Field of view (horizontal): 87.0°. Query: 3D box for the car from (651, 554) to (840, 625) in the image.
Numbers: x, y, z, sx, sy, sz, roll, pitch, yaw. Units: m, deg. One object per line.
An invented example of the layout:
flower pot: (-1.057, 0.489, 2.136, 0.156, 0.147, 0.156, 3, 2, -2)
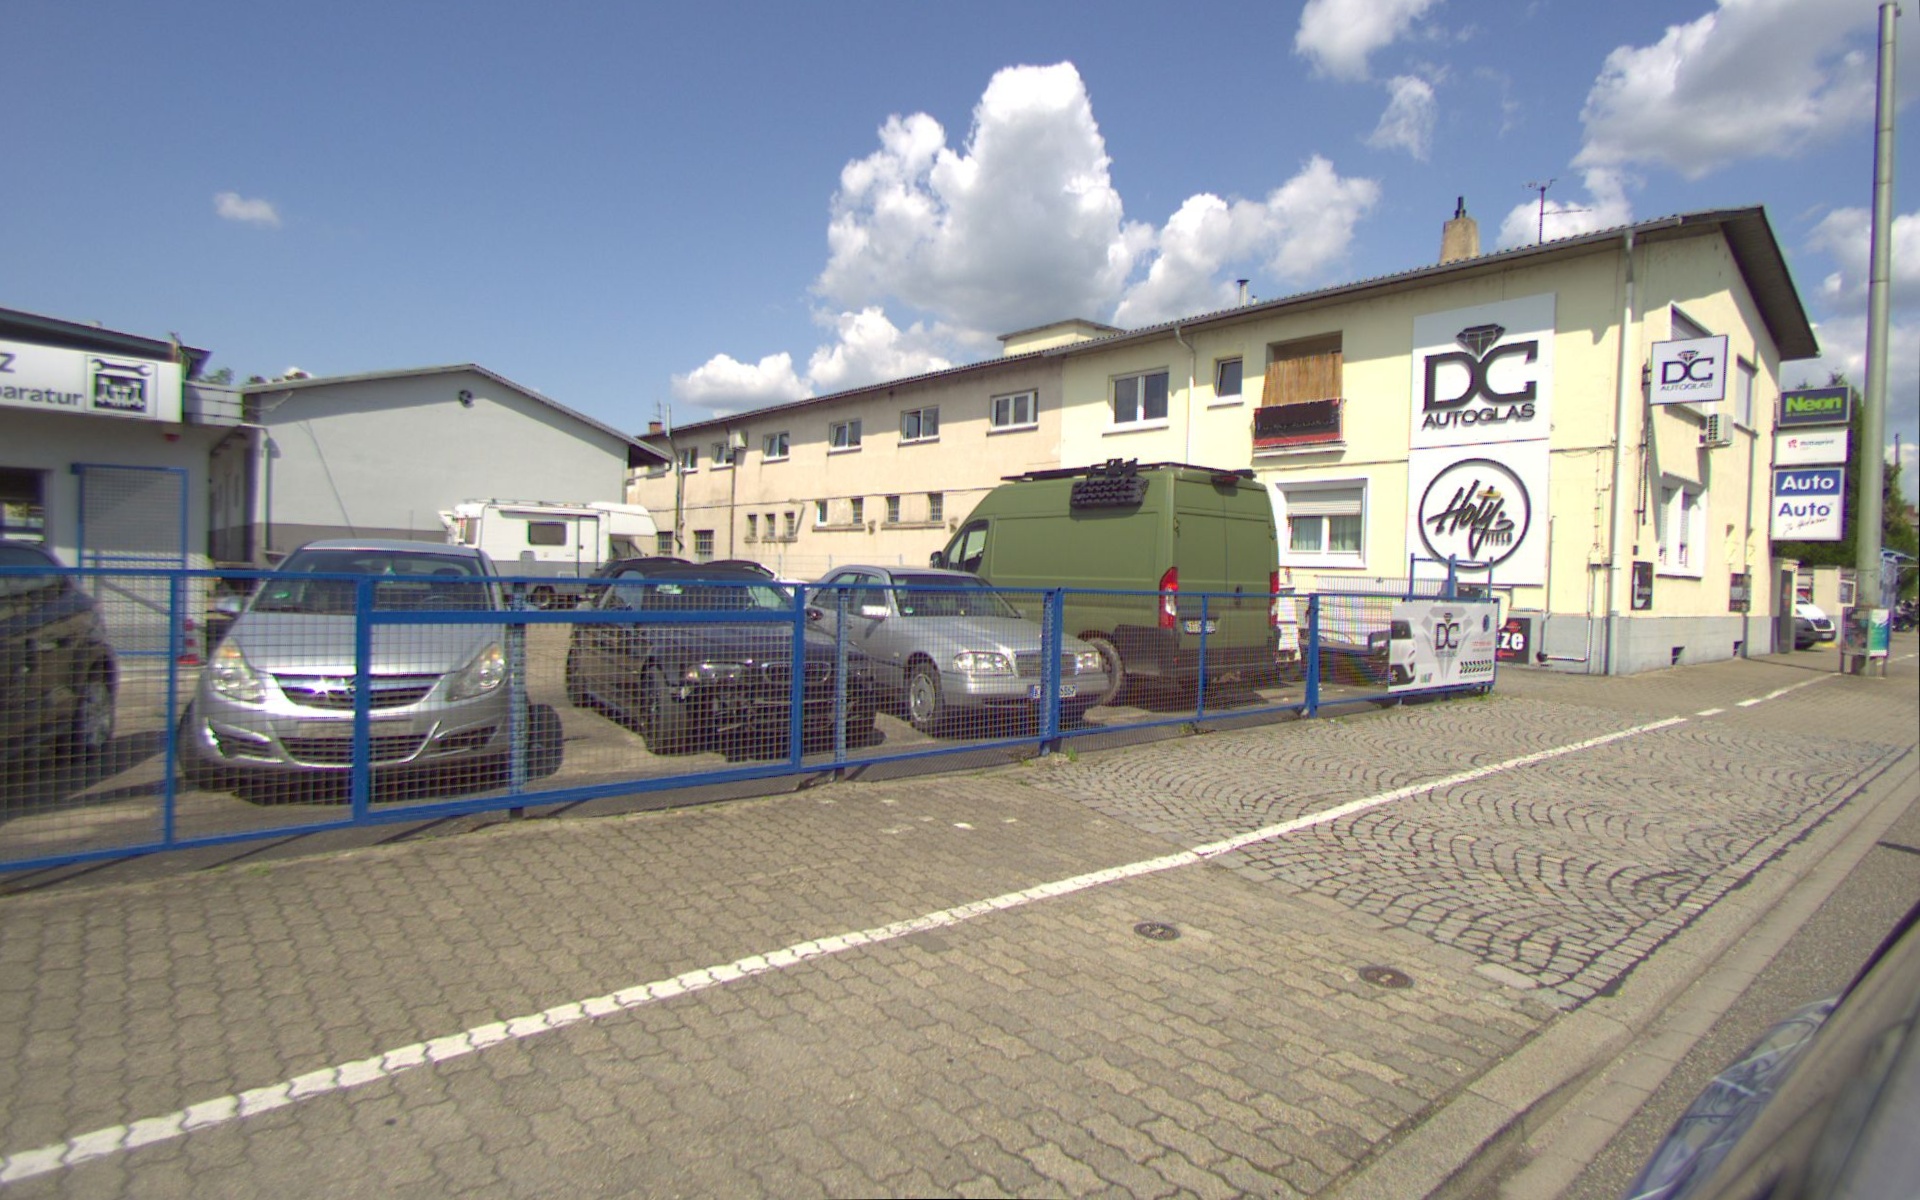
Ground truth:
car: (-4.923, -0.249, 23.520, 3.939, 1.497, 1.719, 0, 2, -41)

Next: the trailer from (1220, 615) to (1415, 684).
trailer: (5.085, 0.668, 14.530, 1.245, 0.776, 2.330, 0, 2, -39)

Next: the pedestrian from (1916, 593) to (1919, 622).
pedestrian: (53.865, 0.408, 56.328, 0.902, 1.606, 0.816, 1, 1, -41)

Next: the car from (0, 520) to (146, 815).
car: (-5.743, 0.322, 5.035, 1.685, 1.497, 4.012, 1, 2, -25)

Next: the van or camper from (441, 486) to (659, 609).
van or camper: (-11.005, -1.326, 27.369, 4.971, 2.999, 2.284, 0, 2, -42)

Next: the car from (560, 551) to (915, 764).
car: (-2.121, 0.308, 8.747, 1.768, 1.403, 3.837, 1, 2, -32)

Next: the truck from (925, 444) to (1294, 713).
truck: (1.626, -0.286, 12.147, 2.033, 2.639, 3.996, 1, 2, -40)

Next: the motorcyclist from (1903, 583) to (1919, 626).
motorcyclist: (43.172, 0.214, 45.325, 0.861, 1.935, 1.115, 1, 1, -27)

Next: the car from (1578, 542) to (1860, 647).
car: (21.400, -0.265, 28.851, 1.963, 2.404, 5.989, 1, 5, -38)

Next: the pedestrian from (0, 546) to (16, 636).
pedestrian: (-13.255, -0.131, 13.841, 0.479, 1.228, 0.501, 1, 1, -42)

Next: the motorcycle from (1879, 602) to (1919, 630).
motorcycle: (43.175, 0.760, 45.277, 0.868, 1.185, 2.907, 1, 2, -26)

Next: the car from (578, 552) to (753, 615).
car: (-7.476, -0.413, 25.890, 3.939, 1.497, 1.719, 0, 2, -41)

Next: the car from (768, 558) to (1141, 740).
car: (-0.293, 0.318, 10.206, 1.768, 1.413, 4.216, 1, 2, -33)

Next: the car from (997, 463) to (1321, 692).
car: (2.615, -0.347, 14.144, 1.771, 2.702, 4.208, 1, 2, -40)

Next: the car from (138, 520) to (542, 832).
car: (-3.947, 0.300, 7.103, 1.766, 1.497, 4.158, 1, 2, -24)
